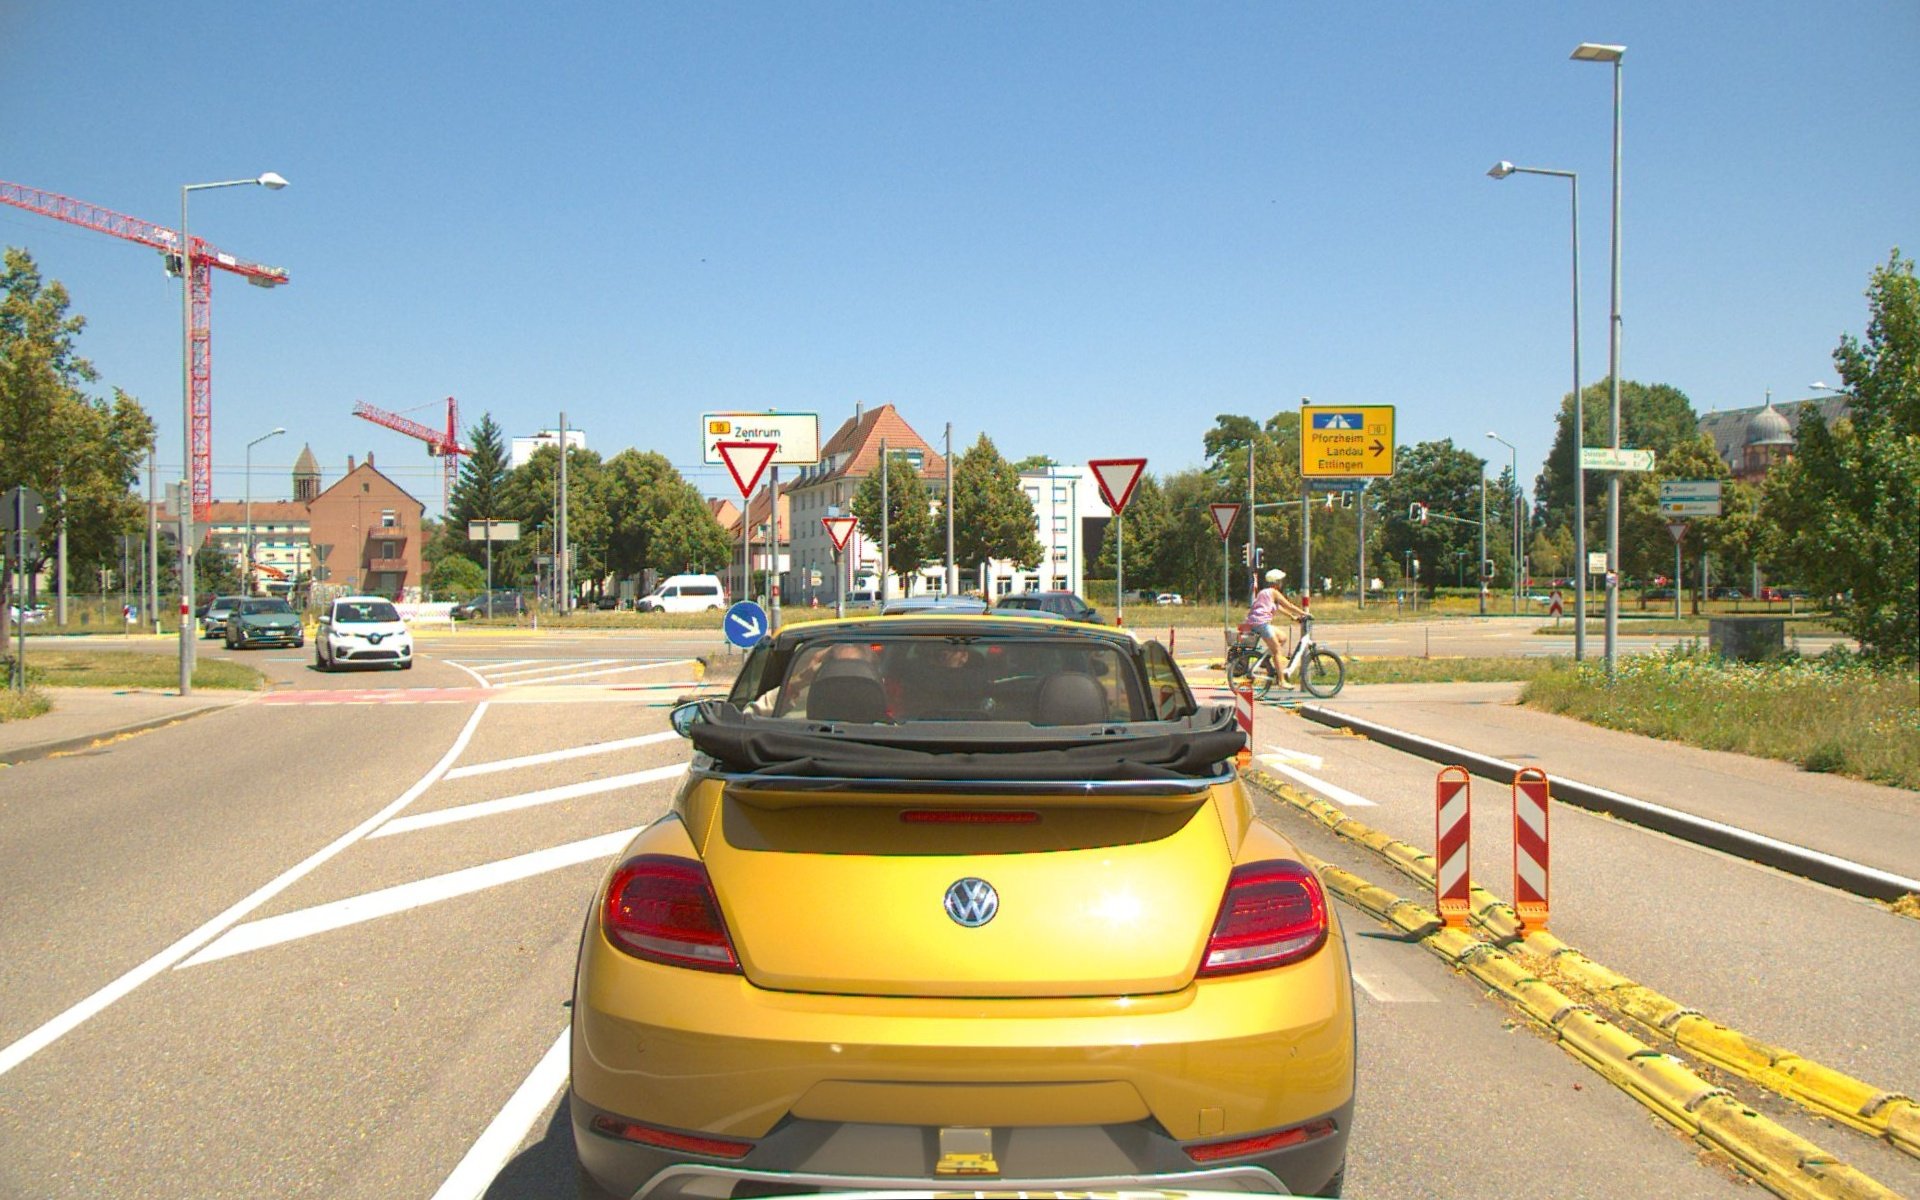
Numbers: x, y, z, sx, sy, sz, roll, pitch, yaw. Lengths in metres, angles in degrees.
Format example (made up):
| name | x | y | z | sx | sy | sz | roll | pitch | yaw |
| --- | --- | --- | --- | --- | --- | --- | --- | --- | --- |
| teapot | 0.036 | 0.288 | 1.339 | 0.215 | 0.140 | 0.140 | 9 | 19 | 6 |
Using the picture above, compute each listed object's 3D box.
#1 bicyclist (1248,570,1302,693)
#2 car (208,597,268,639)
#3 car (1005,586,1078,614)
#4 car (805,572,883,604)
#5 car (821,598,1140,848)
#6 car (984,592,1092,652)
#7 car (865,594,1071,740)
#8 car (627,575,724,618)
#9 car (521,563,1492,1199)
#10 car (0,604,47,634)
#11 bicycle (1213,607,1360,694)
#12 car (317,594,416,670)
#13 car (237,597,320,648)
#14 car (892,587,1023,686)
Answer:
| name | x | y | z | sx | sy | sz | roll | pitch | yaw |
| --- | --- | --- | --- | --- | --- | --- | --- | --- | --- |
| bicyclist | 4.663 | 0.456 | 24.497 | 0.656 | 1.783 | 0.592 | -1 | 1 | 1 |
| car | -25.820 | 0.622 | 59.249 | 1.702 | 1.427 | 4.244 | 1 | 0 | -21 |
| car | 5.156 | 0.000 | 104.401 | 4.241 | 1.683 | 1.902 | 1 | 0 | 17 |
| car | -8.003 | -0.809 | 113.934 | 5.214 | 2.107 | 1.989 | 1 | 0 | 32 |
| car | 0.090 | 0.699 | 11.616 | 1.814 | 1.389 | 4.257 | -1 | 0 | -1 |
| car | 1.812 | 0.500 | 37.682 | 1.405 | 1.281 | 3.216 | 1 | 0 | 23 |
| car | 0.089 | 0.675 | 18.502 | 2.022 | 1.406 | 4.258 | 1 | 0 | 0 |
| car | -16.539 | -0.188 | 96.255 | 5.260 | 2.439 | 1.972 | 1 | -1 | -33 |
| car | 0.057 | 0.710 | 5.097 | 1.729 | 1.507 | 4.257 | 1 | 0 | -1 |
| car | -46.861 | 0.907 | 80.061 | 4.237 | 1.395 | 1.749 | 1 | 0 | -9 |
| bicycle | 4.825 | 0.745 | 24.489 | 2.048 | 1.242 | 0.634 | -1 | 0 | 1 |
| car | -13.118 | 0.653 | 36.428 | 1.752 | 1.554 | 3.843 | -1 | 0 | -24 |
| car | -20.050 | 0.639 | 48.819 | 1.718 | 1.395 | 4.313 | 1 | 0 | -16 |
| car | -0.074 | 0.551 | 27.960 | 2.023 | 1.506 | 4.542 | -1 | 0 | -1 |
